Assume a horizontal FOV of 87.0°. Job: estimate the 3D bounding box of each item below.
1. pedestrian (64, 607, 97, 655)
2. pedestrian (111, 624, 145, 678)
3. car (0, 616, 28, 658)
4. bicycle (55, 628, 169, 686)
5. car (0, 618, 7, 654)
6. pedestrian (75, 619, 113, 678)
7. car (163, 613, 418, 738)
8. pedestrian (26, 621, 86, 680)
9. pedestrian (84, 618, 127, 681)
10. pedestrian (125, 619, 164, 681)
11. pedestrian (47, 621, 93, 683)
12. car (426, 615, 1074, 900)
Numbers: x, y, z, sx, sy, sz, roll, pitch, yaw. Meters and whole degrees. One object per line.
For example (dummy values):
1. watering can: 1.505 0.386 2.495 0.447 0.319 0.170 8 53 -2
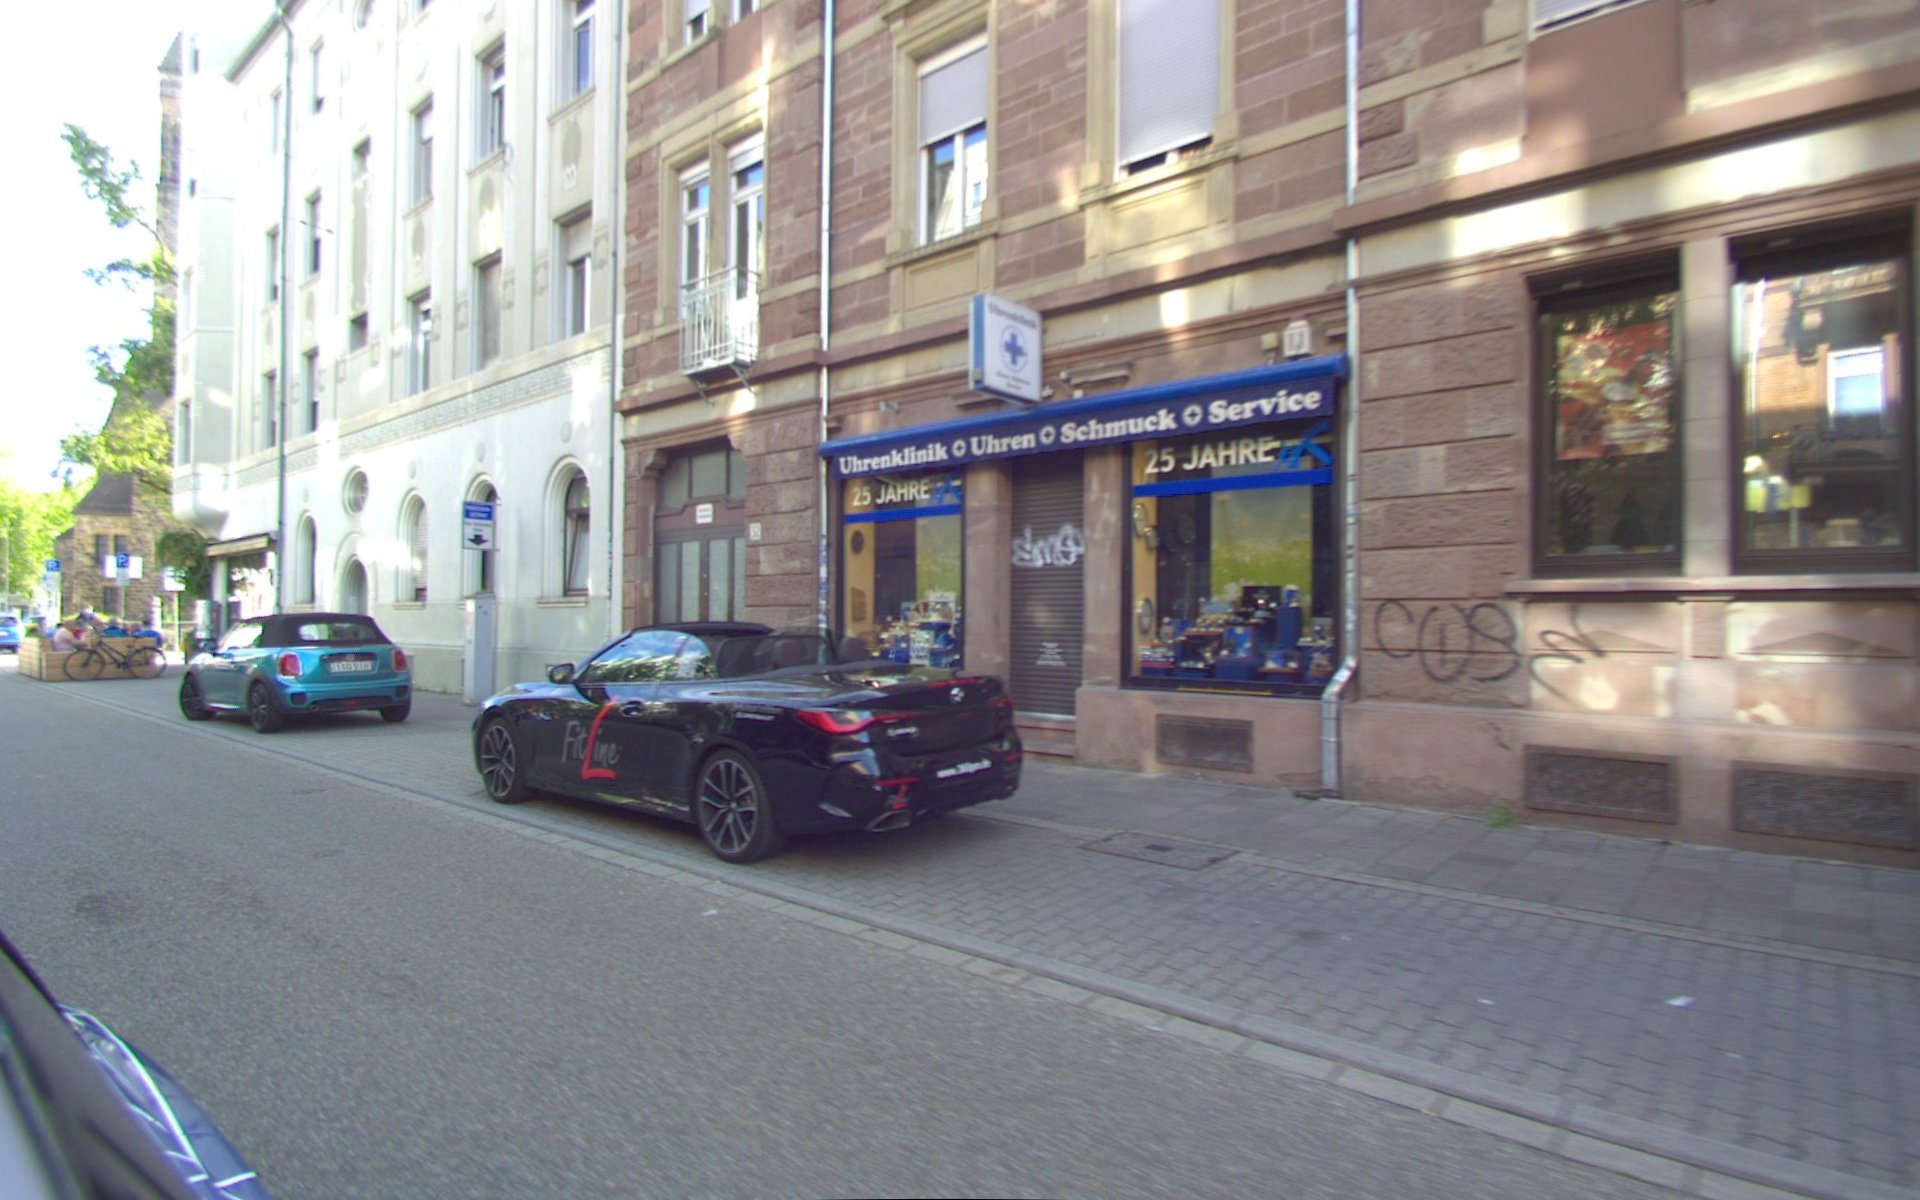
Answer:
1. pedestrian: -32.706 1.144 37.628 0.879 1.722 0.834 -1 -1 41
2. pedestrian: -19.908 1.204 24.214 0.589 1.253 0.694 0 -1 -42
3. car: -36.218 1.362 37.675 4.168 1.497 1.804 -1 -1 41
4. bicycle: -18.562 1.223 22.180 0.687 1.184 1.848 -1 -1 42
5. car: -40.862 1.485 41.748 3.998 1.431 1.887 -1 -1 41
6. pedestrian: -20.389 1.138 23.821 0.658 1.346 0.740 0 -1 -42
7. car: -9.039 0.901 13.556 4.006 1.426 1.654 -1 -1 38
8. pedestrian: -22.026 1.208 24.682 1.073 1.383 0.896 0 -1 -41
9. pedestrian: -19.351 1.104 22.920 0.740 1.383 0.680 -1 -1 45
10. pedestrian: -18.831 1.142 23.365 0.684 1.383 0.628 -1 -1 45
11. pedestrian: -20.138 1.154 22.889 0.644 1.359 0.729 -1 -1 43
12. car: -1.813 0.801 7.240 5.111 1.361 1.793 -1 -1 40
